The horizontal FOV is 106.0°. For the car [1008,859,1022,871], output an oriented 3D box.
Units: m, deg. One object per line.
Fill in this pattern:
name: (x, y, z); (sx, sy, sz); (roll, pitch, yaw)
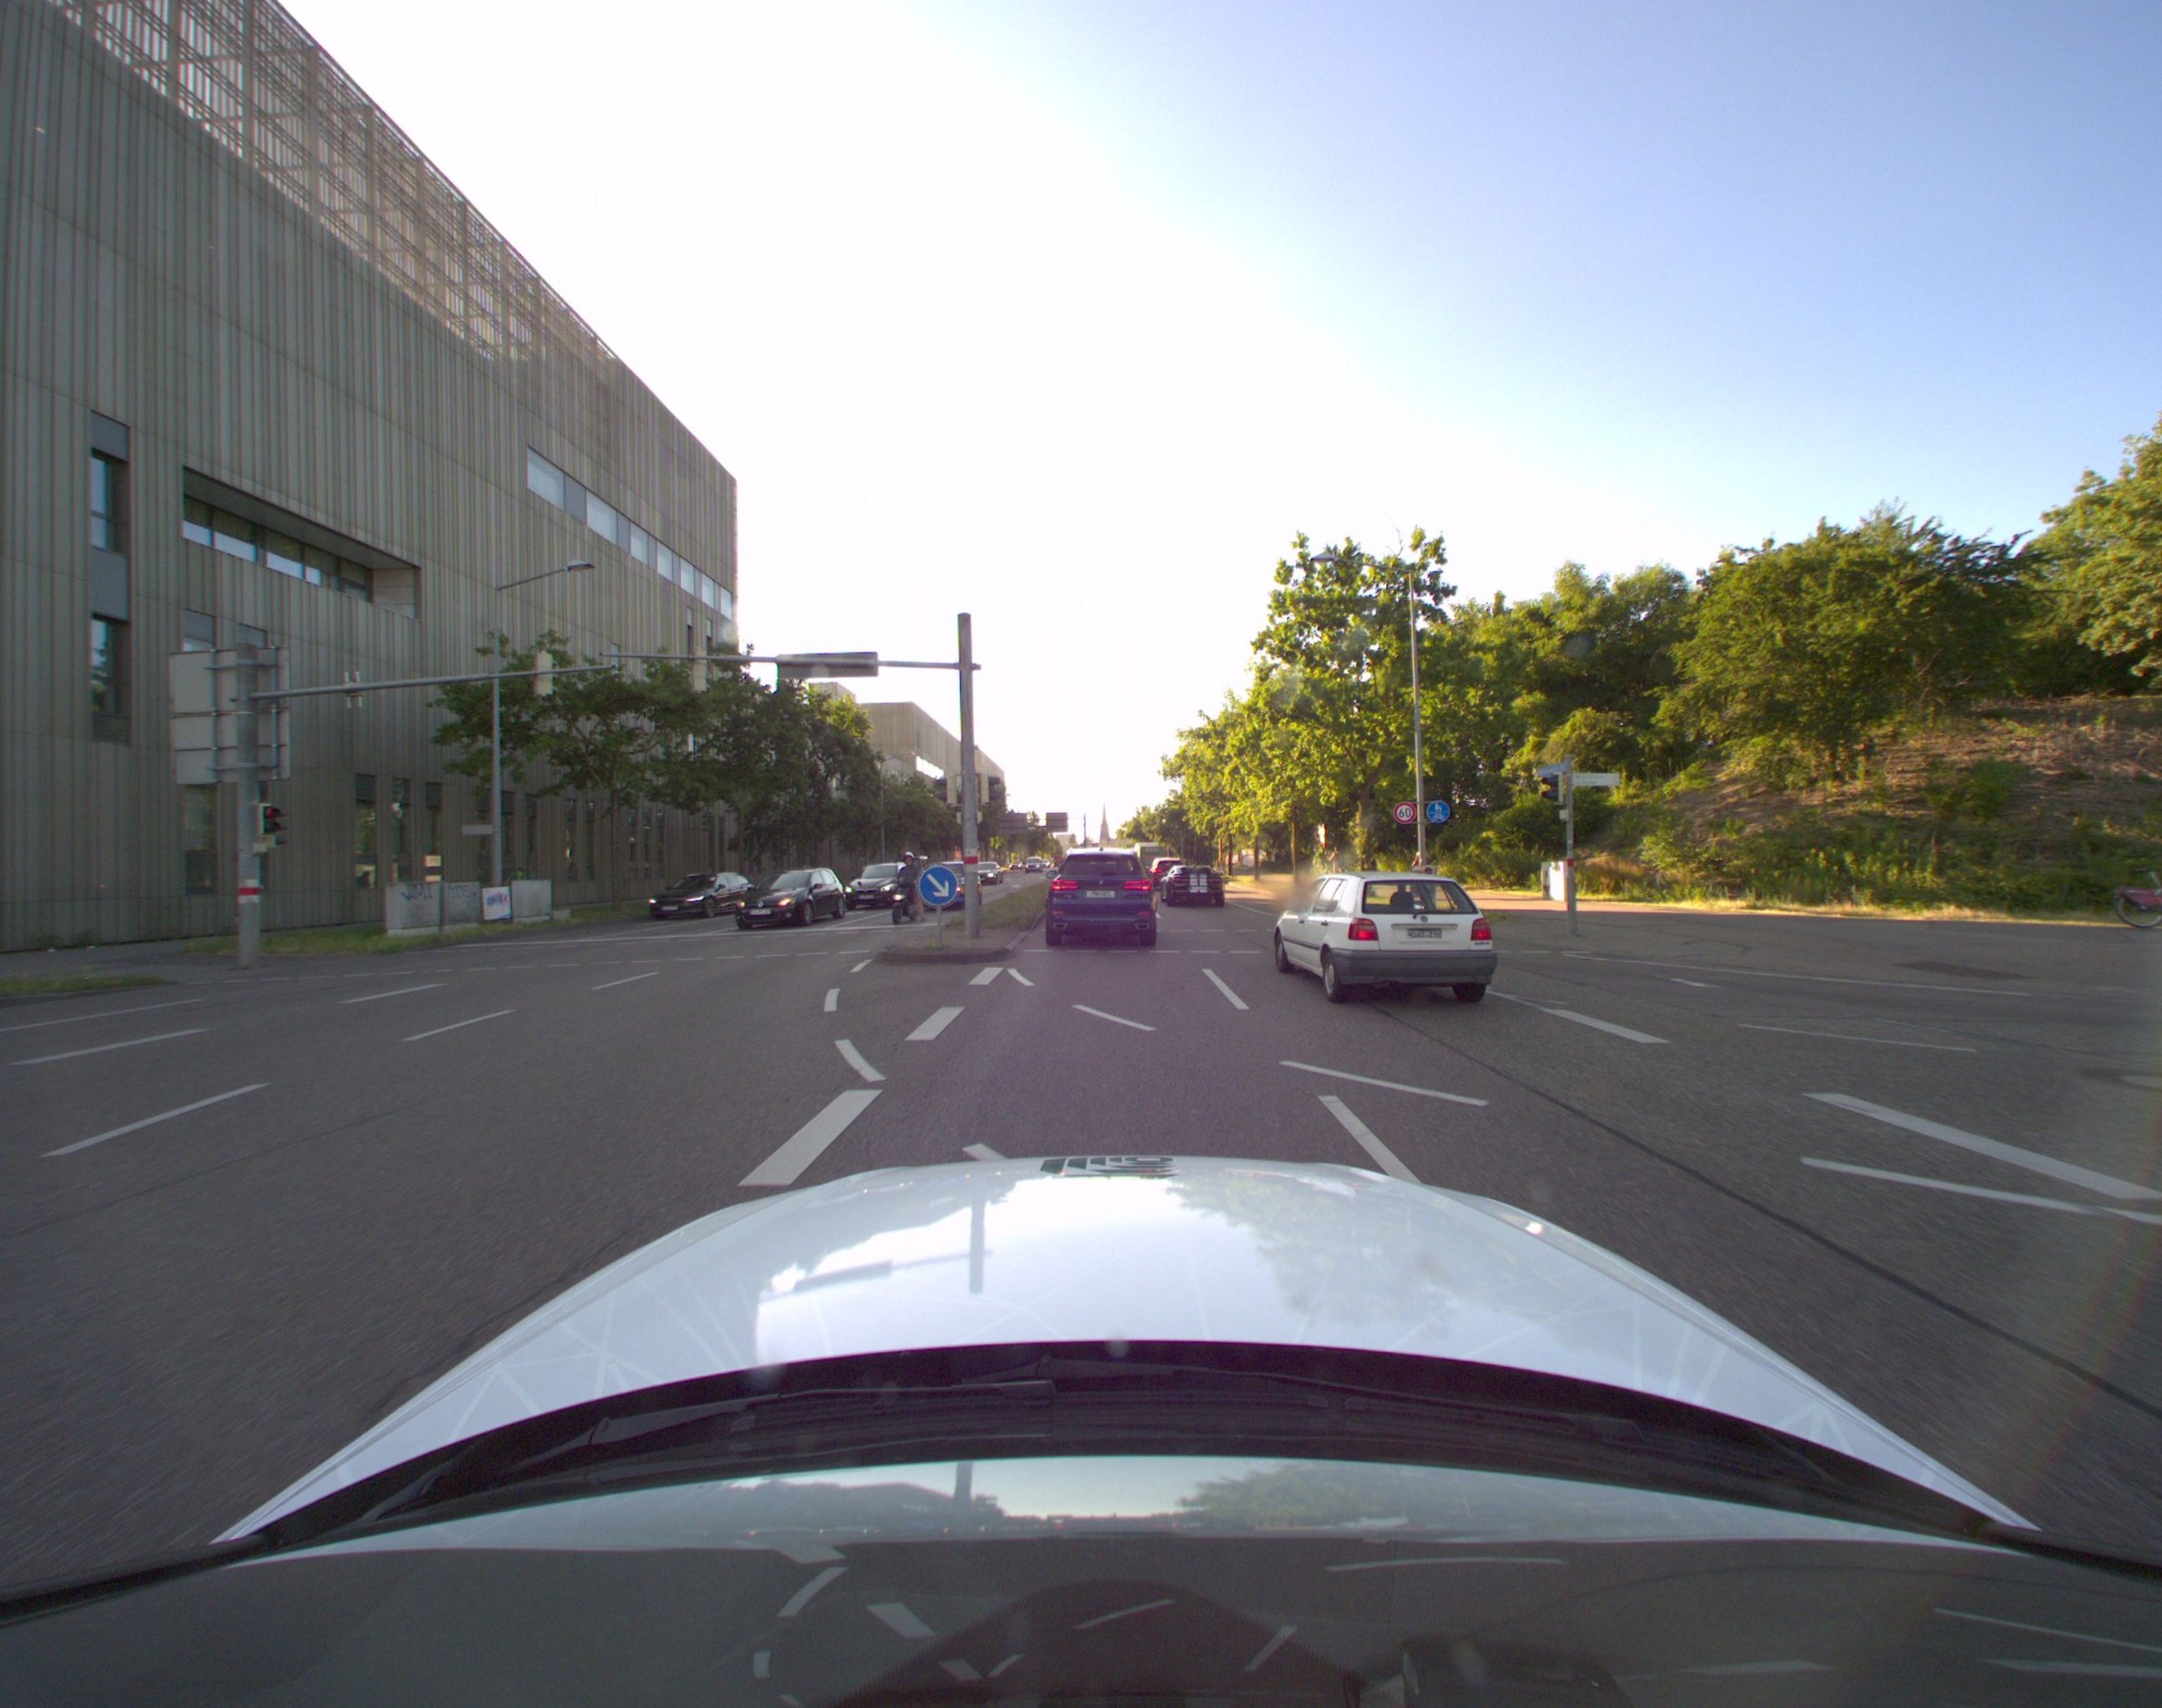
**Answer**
car: (-10.517, 1.711, 129.898); (1.750, 1.705, 4.494); (-5, -1, 0)

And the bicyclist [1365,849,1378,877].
bicyclist: (13.678, 0.444, 38.353); (0.426, 1.309, 0.460); (0, -2, 2)

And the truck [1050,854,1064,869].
truck: (-7.152, 2.256, 243.584); (3.976, 4.088, 11.445); (0, -1, 0)

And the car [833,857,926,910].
car: (-7.030, 1.016, 28.966); (1.987, 1.592, 4.714); (-5, -1, 0)

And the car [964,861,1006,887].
car: (-6.172, 1.295, 52.987); (1.987, 1.452, 4.797); (-5, -1, 0)

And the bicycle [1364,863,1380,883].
bicycle: (13.678, 0.878, 38.271); (0.436, 0.914, 1.027); (0, -2, 2)

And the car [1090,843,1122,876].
car: (2.014, 0.499, 67.079); (2.132, 2.576, 5.080); (0, -1, -3)

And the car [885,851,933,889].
car: (-10.009, 0.903, 47.636); (1.788, 1.978, 3.994); (-4, 0, 0)

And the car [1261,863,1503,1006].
car: (3.458, 0.851, 10.172); (1.573, 1.413, 4.062); (0, -1, 1)

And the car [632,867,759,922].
car: (-13.126, 1.328, 28.103); (1.987, 1.592, 4.714); (-5, -1, 0)

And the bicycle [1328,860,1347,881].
bicycle: (14.010, 0.893, 44.437); (0.562, 1.112, 1.622); (0, -1, 2)

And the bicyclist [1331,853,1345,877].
bicyclist: (14.016, 0.612, 44.424); (0.541, 1.316, 0.835); (0, -2, 1)

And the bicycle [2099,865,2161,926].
bicycle: (18.852, 0.695, 13.988); (1.649, 0.991, 0.581); (-2, 2, 18)

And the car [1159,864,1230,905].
car: (3.769, 1.006, 27.615); (1.986, 1.295, 4.001); (0, -1, 2)

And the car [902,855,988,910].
car: (-4.202, 0.866, 25.771); (1.694, 1.452, 3.862); (-5, -1, 4)

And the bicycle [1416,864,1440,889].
bicycle: (13.293, 0.868, 31.202); (0.436, 0.914, 1.027); (-3, -2, 2)

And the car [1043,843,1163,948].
car: (0.440, 0.740, 15.839); (1.986, 1.734, 4.534); (0, -1, 2)

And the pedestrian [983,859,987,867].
pedestrian: (-17.875, 1.694, 151.310); (0.624, 1.522, 0.719); (0, -2, 4)

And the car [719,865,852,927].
car: (-7.665, 1.057, 21.597); (1.987, 1.475, 4.080); (1, -1, 0)

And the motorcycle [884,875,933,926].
motorcycle: (-4.200, 1.093, 19.967); (0.838, 1.076, 2.396); (-3, 0, -5)

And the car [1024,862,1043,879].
car: (-5.534, 1.939, 94.747); (1.750, 1.777, 4.494); (-5, -1, 0)

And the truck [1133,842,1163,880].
truck: (4.895, 0.530, 59.649); (1.988, 2.669, 4.001); (0, -1, 2)

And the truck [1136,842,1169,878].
truck: (4.783, 0.410, 54.840); (1.988, 2.315, 4.001); (0, -1, 2)

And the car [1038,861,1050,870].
car: (-6.885, 2.137, 152.200); (1.987, 1.452, 4.714); (-5, -1, 0)

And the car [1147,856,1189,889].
car: (4.306, 0.926, 40.887); (1.789, 1.559, 4.001); (0, -1, 2)

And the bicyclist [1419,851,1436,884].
bicyclist: (13.278, 0.509, 31.226); (0.426, 1.233, 0.460); (-1, -2, 1)

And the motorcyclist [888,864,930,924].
motorcyclist: (-4.206, 0.965, 19.976); (0.796, 1.349, 1.272); (-3, 1, -5)
